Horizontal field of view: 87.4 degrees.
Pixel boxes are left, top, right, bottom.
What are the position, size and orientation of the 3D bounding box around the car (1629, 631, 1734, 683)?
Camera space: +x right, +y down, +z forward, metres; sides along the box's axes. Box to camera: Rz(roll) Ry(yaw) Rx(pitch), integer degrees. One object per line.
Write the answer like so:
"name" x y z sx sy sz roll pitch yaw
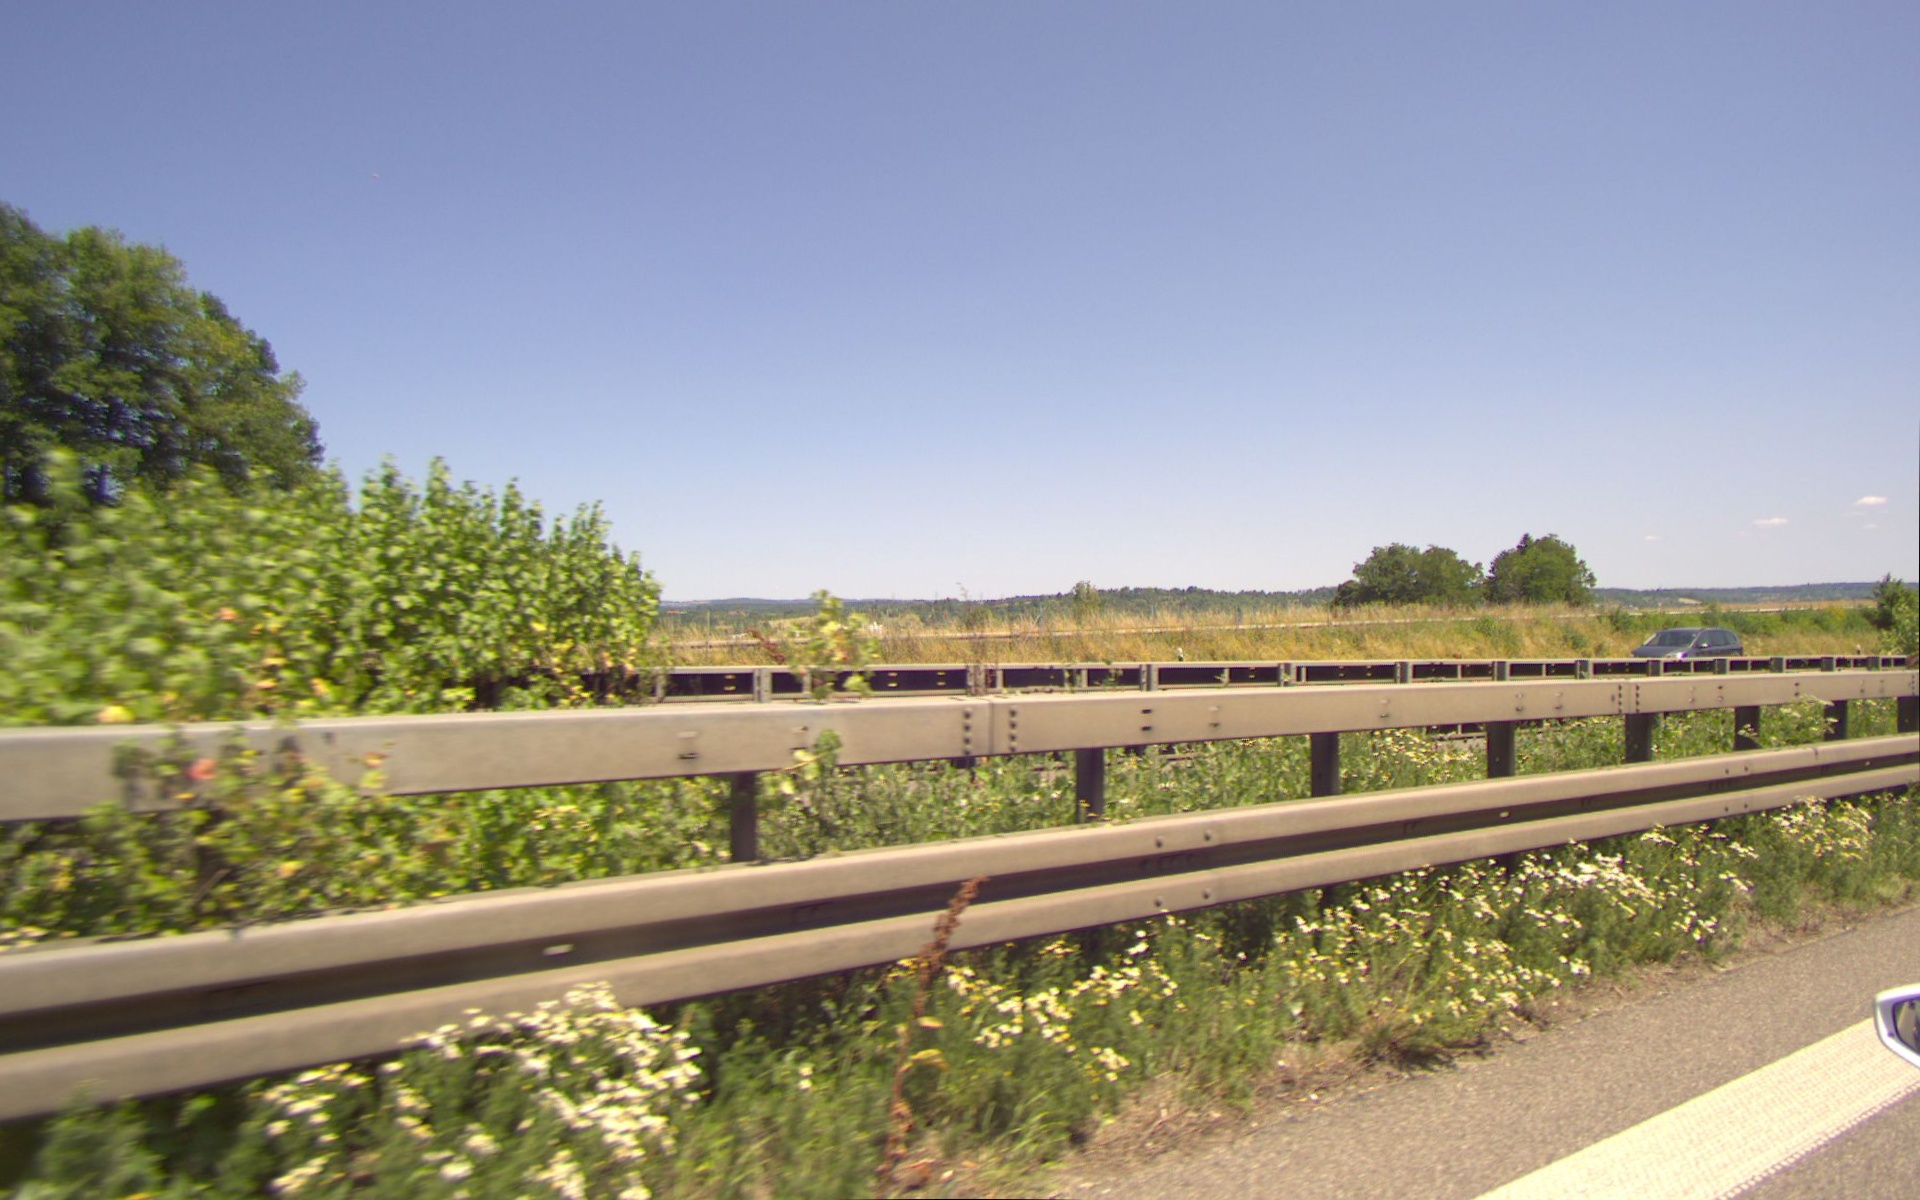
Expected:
"car" 24.346 1.881 33.883 3.652 1.571 1.551 1 1 -31
